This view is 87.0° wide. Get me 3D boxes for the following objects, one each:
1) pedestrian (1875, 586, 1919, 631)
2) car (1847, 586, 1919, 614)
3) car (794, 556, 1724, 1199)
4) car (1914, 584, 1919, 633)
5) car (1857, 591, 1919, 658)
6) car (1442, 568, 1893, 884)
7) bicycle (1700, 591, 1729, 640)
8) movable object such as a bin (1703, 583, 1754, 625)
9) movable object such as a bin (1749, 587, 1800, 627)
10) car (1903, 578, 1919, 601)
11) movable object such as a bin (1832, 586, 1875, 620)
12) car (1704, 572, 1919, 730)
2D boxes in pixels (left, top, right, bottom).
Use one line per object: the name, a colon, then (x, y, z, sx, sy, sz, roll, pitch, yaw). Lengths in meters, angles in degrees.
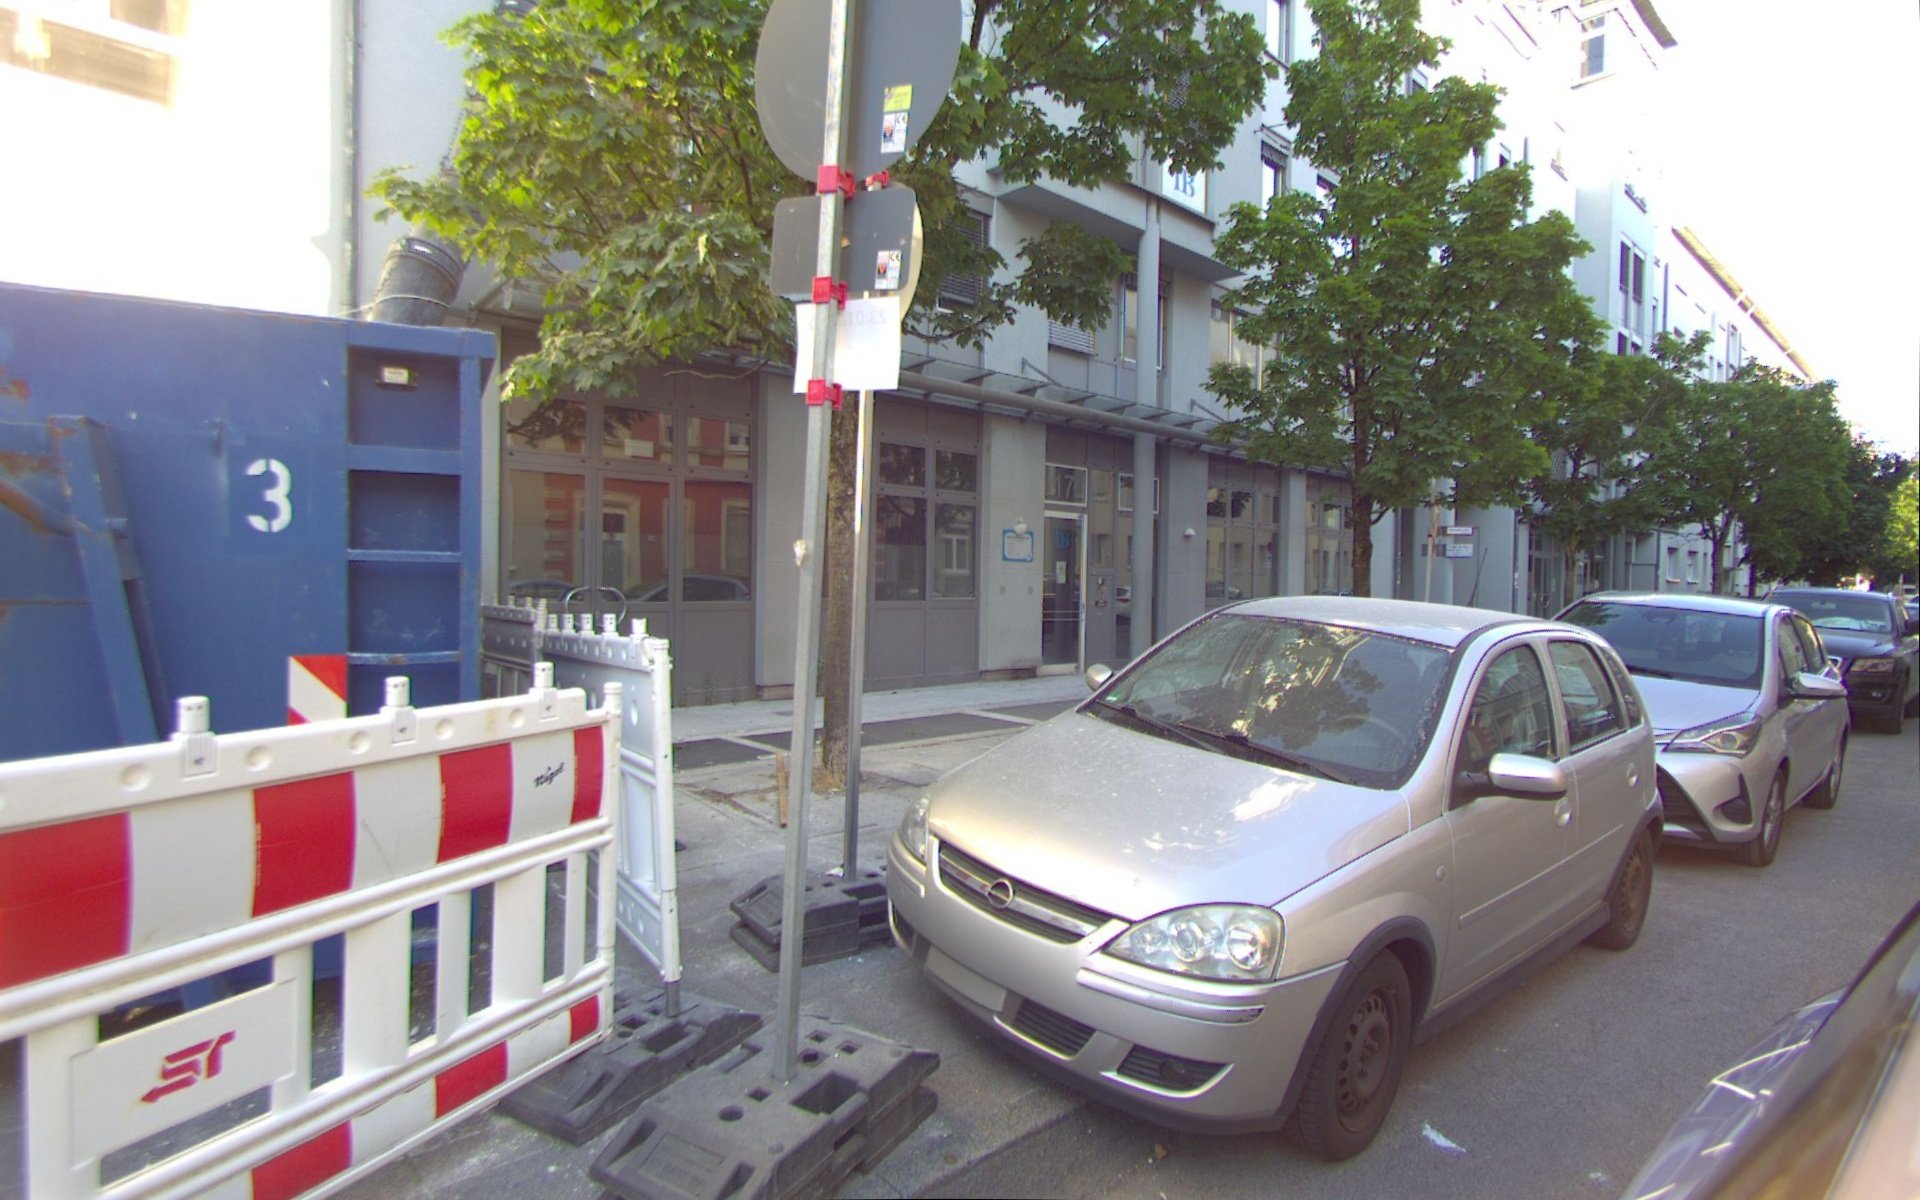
pedestrian: (32.263, 0.284, 34.747, 0.787, 1.481, 0.870, 2, 2, 3)
car: (59.966, -0.011, 65.281, 1.968, 1.584, 3.991, 0, 4, -45)
car: (1.396, 0.644, 3.908, 3.664, 1.493, 1.680, 0, 3, -41)
car: (34.932, 0.309, 35.541, 4.646, 1.655, 1.873, -1, 4, -45)
car: (23.000, 0.562, 24.285, 4.272, 1.446, 1.766, 0, 3, -43)
car: (5.063, 0.607, 7.036, 3.902, 1.543, 1.679, 0, 3, -42)
bicycle: (19.278, 0.377, 25.880, 0.519, 1.182, 1.718, 3, 3, 36)
movable object such as a bin: (28.273, 0.124, 37.231, 1.120, 1.454, 1.263, 0, 3, -43)
movable object such as a bin: (29.327, 0.241, 36.438, 1.120, 1.337, 1.263, 0, 3, -43)
car: (96.731, -1.035, 101.361, 2.147, 2.311, 6.135, 3, 3, 33)
movable object such as a bin: (40.215, 0.123, 45.568, 1.202, 1.454, 1.286, 0, 3, -43)
car: (11.292, 0.517, 13.078, 4.360, 1.642, 1.888, 0, 3, -43)
